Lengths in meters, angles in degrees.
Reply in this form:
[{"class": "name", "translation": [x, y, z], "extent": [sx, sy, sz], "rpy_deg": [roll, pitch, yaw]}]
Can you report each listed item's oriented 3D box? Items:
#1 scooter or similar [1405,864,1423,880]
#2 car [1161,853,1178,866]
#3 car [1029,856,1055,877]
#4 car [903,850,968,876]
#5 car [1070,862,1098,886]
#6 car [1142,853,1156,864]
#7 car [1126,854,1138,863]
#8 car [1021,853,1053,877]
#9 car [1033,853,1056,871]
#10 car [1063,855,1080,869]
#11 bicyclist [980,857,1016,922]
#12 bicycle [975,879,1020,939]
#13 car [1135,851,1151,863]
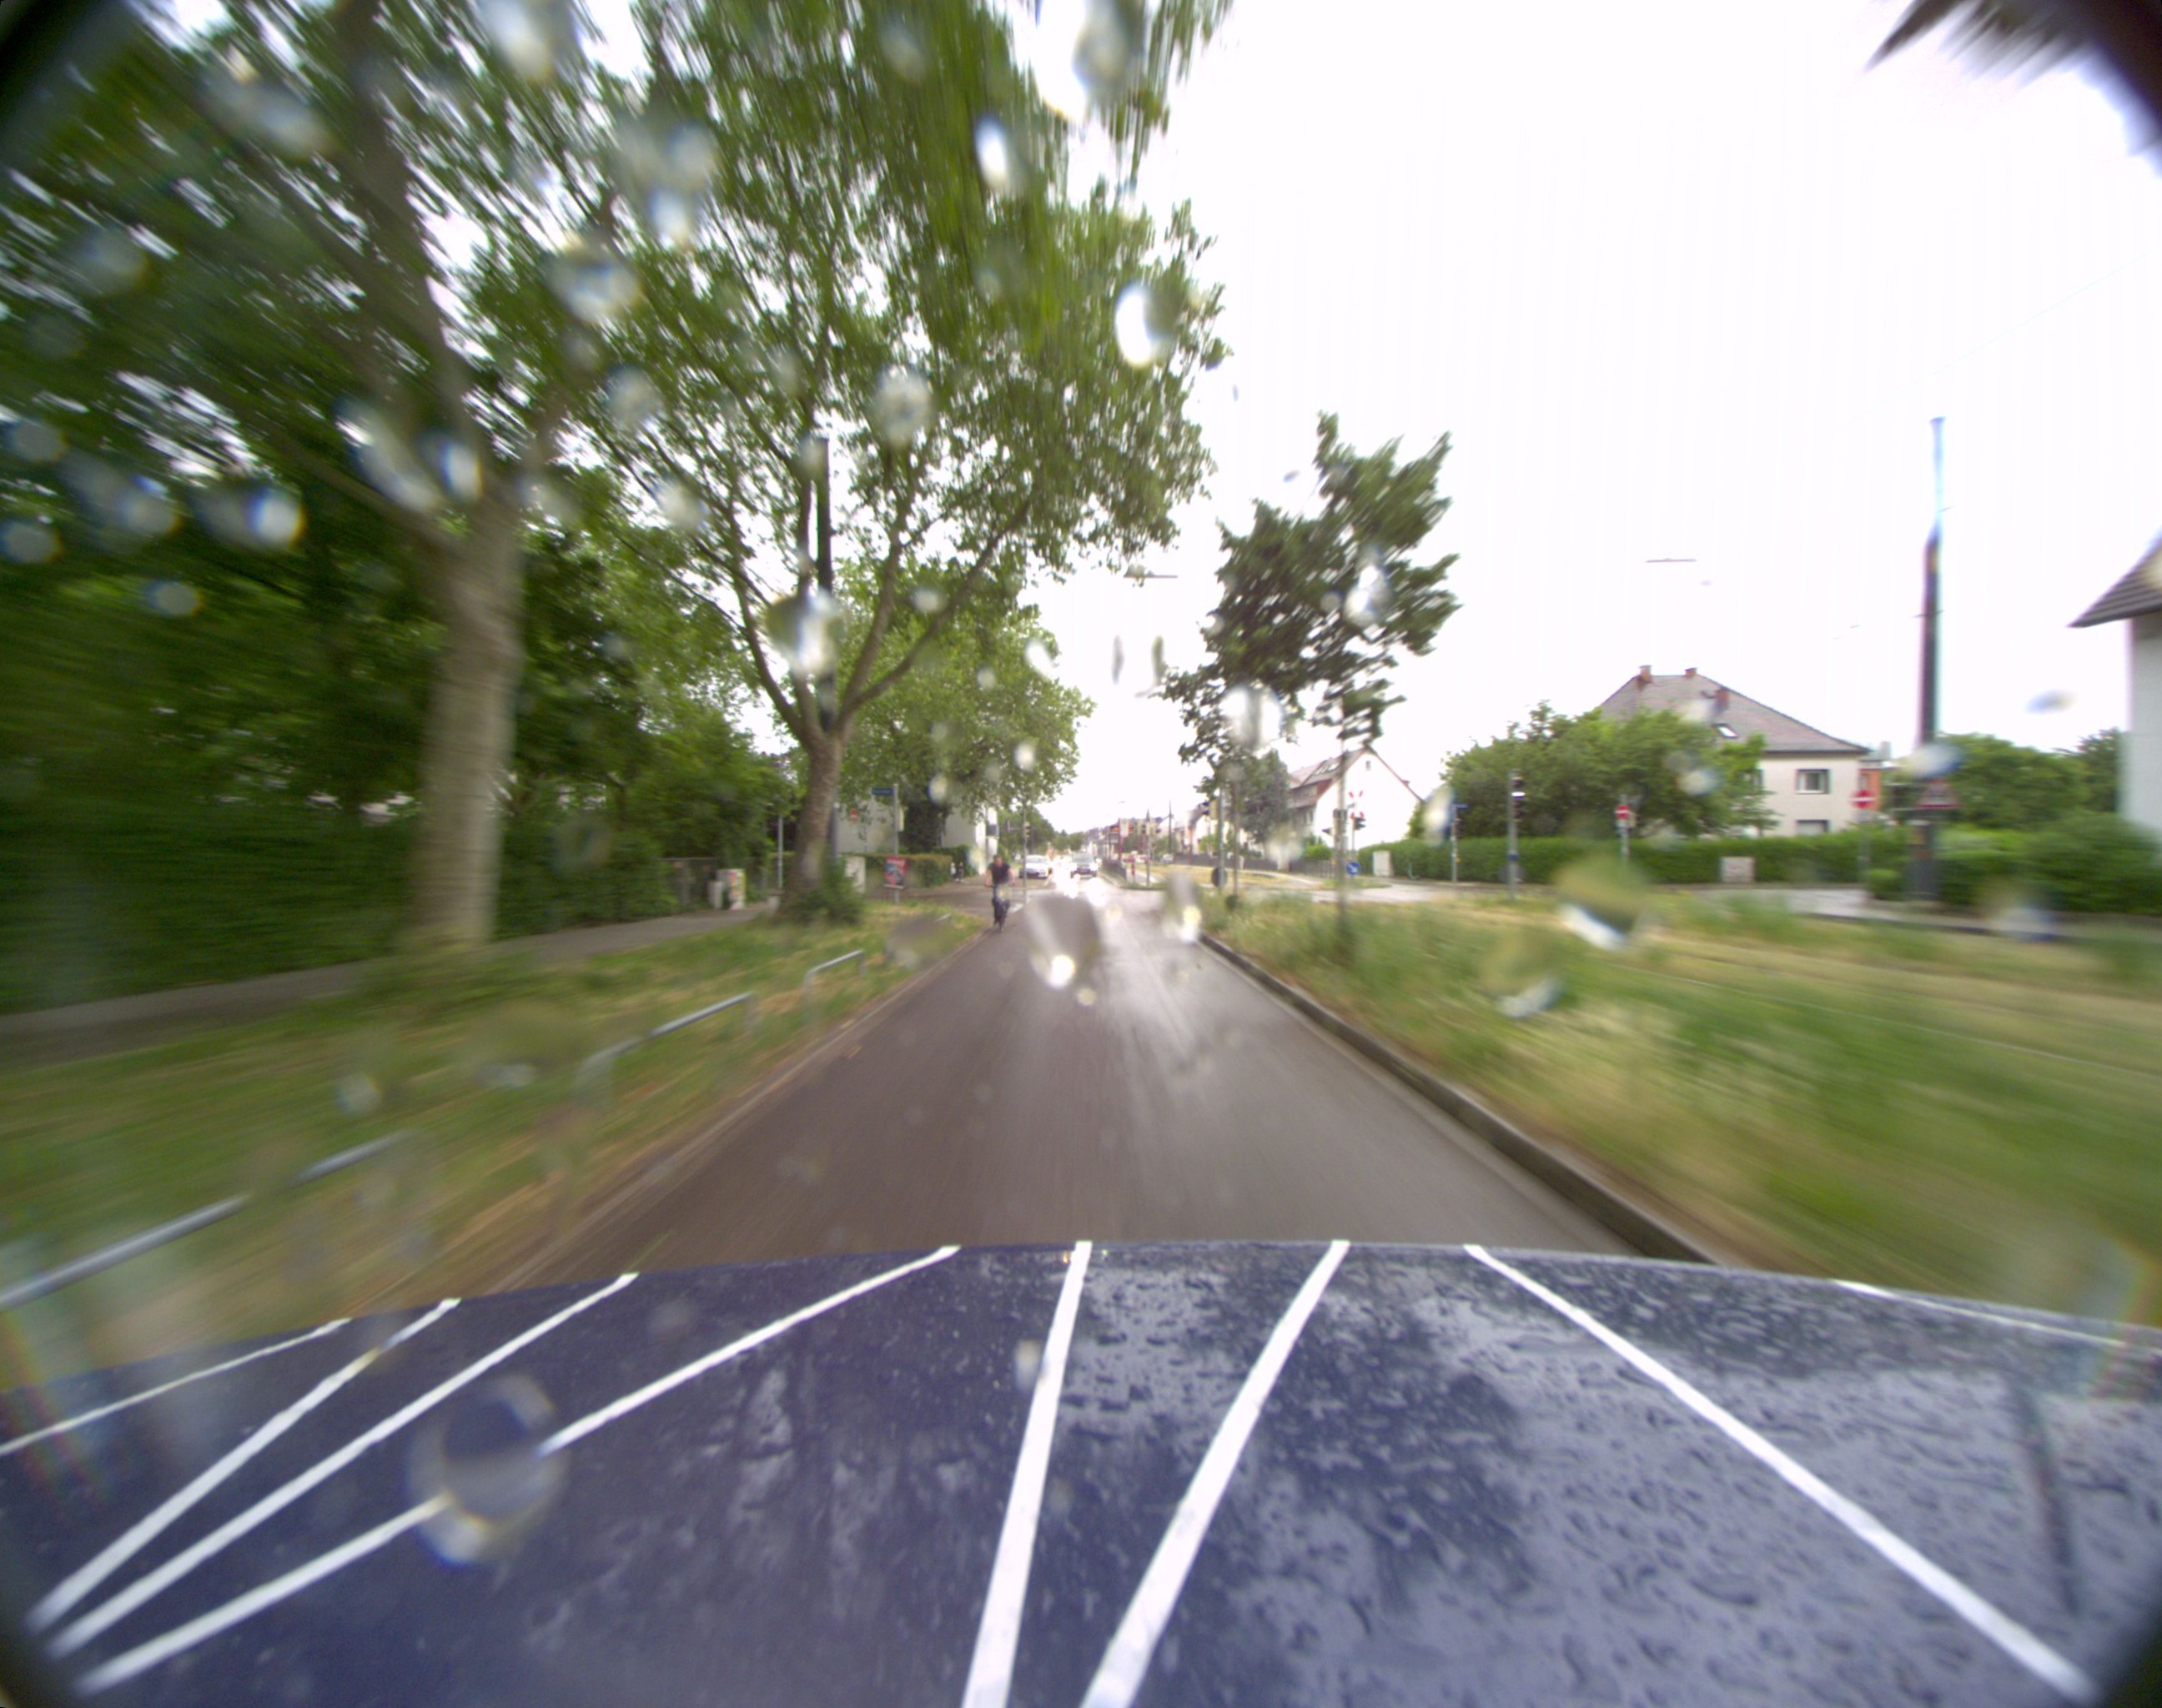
[{"class": "scooter or similar", "translation": [18.369, 0.986, 41.890], "extent": [0.347, 0.905, 1.258], "rpy_deg": [0, 0, -4]}, {"class": "car", "translation": [14.076, 0.893, 120.988], "extent": [1.999, 2.002, 3.998], "rpy_deg": [0, 0, -5]}, {"class": "car", "translation": [-3.045, 0.966, 60.361], "extent": [1.780, 1.477, 4.000], "rpy_deg": [2, 0, 0]}, {"class": "car", "translation": [-8.877, 0.538, 46.467], "extent": [3.578, 1.399, 1.677], "rpy_deg": [2, 0, 2]}, {"class": "car", "translation": [0.230, 1.371, 52.395], "extent": [1.780, 1.477, 4.000], "rpy_deg": [2, 0, 0]}, {"class": "car", "translation": [12.745, 0.901, 142.358], "extent": [2.000, 2.002, 3.998], "rpy_deg": [0, 0, -6]}, {"class": "car", "translation": [10.939, 0.970, 163.365], "extent": [2.000, 2.002, 3.998], "rpy_deg": [0, 0, -6]}, {"class": "car", "translation": [-2.858, 0.679, 49.656], "extent": [1.780, 1.477, 4.000], "rpy_deg": [2, 0, 0]}, {"class": "car", "translation": [-3.131, 0.656, 66.064], "extent": [1.780, 1.477, 4.000], "rpy_deg": [2, 0, 0]}, {"class": "car", "translation": [-1.001, 0.851, 82.107], "extent": [1.780, 1.477, 4.000], "rpy_deg": [2, 0, 0]}, {"class": "bicyclist", "translation": [-1.877, 0.791, 17.197], "extent": [0.675, 1.421, 0.754], "rpy_deg": [-2, 1, 0]}, {"class": "bicycle", "translation": [-1.862, 1.200, 17.236], "extent": [0.675, 1.136, 2.445], "rpy_deg": [-3, 0, 1]}, {"class": "car", "translation": [10.423, 0.435, 127.857], "extent": [1.999, 2.002, 3.998], "rpy_deg": [0, 0, -4]}]
